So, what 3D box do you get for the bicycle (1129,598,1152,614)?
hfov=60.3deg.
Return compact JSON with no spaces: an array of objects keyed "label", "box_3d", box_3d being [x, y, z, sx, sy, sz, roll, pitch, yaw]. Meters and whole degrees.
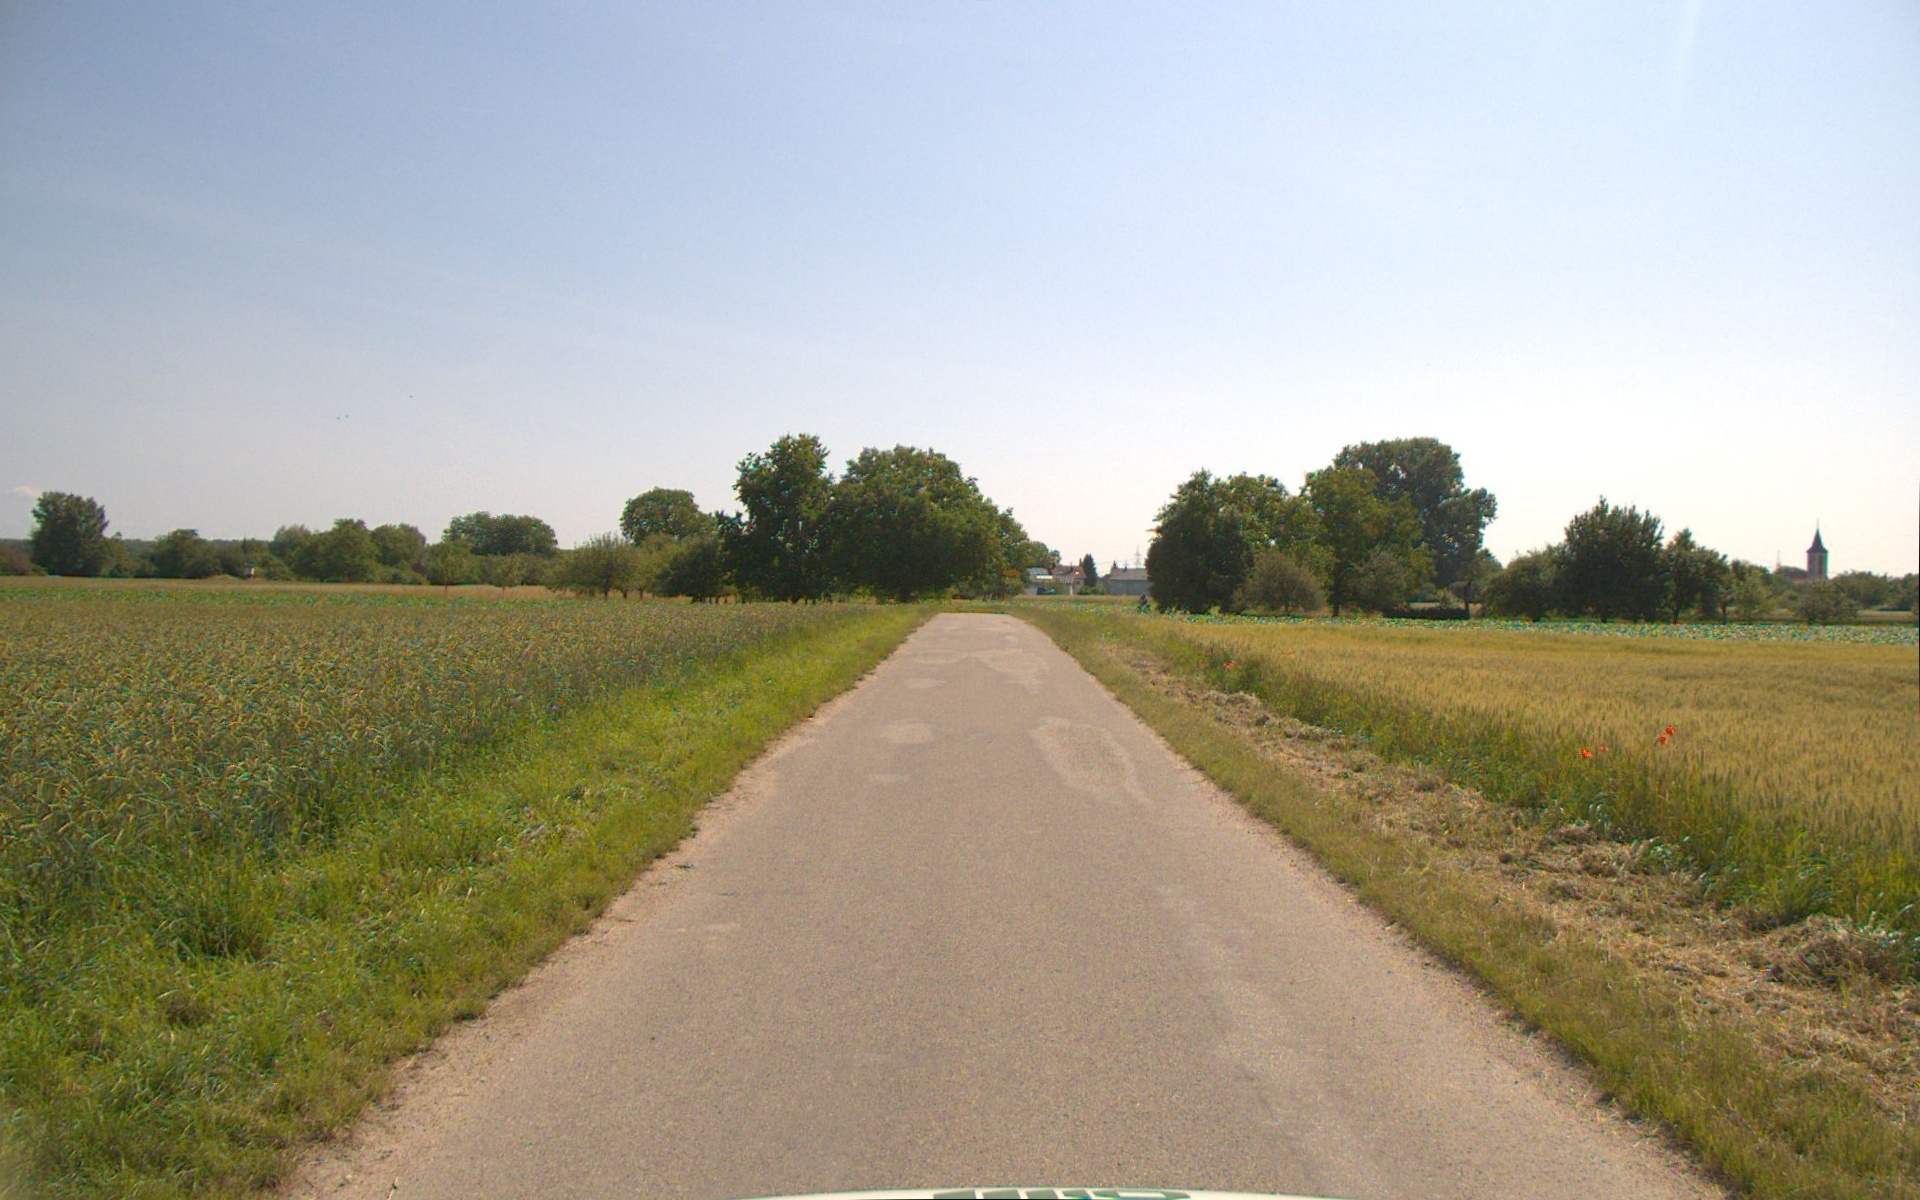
[{"label":"bicycle","box_3d":[13.896,0.467,127.226,1.893,1.147,0.741,0,0,-43]}]
